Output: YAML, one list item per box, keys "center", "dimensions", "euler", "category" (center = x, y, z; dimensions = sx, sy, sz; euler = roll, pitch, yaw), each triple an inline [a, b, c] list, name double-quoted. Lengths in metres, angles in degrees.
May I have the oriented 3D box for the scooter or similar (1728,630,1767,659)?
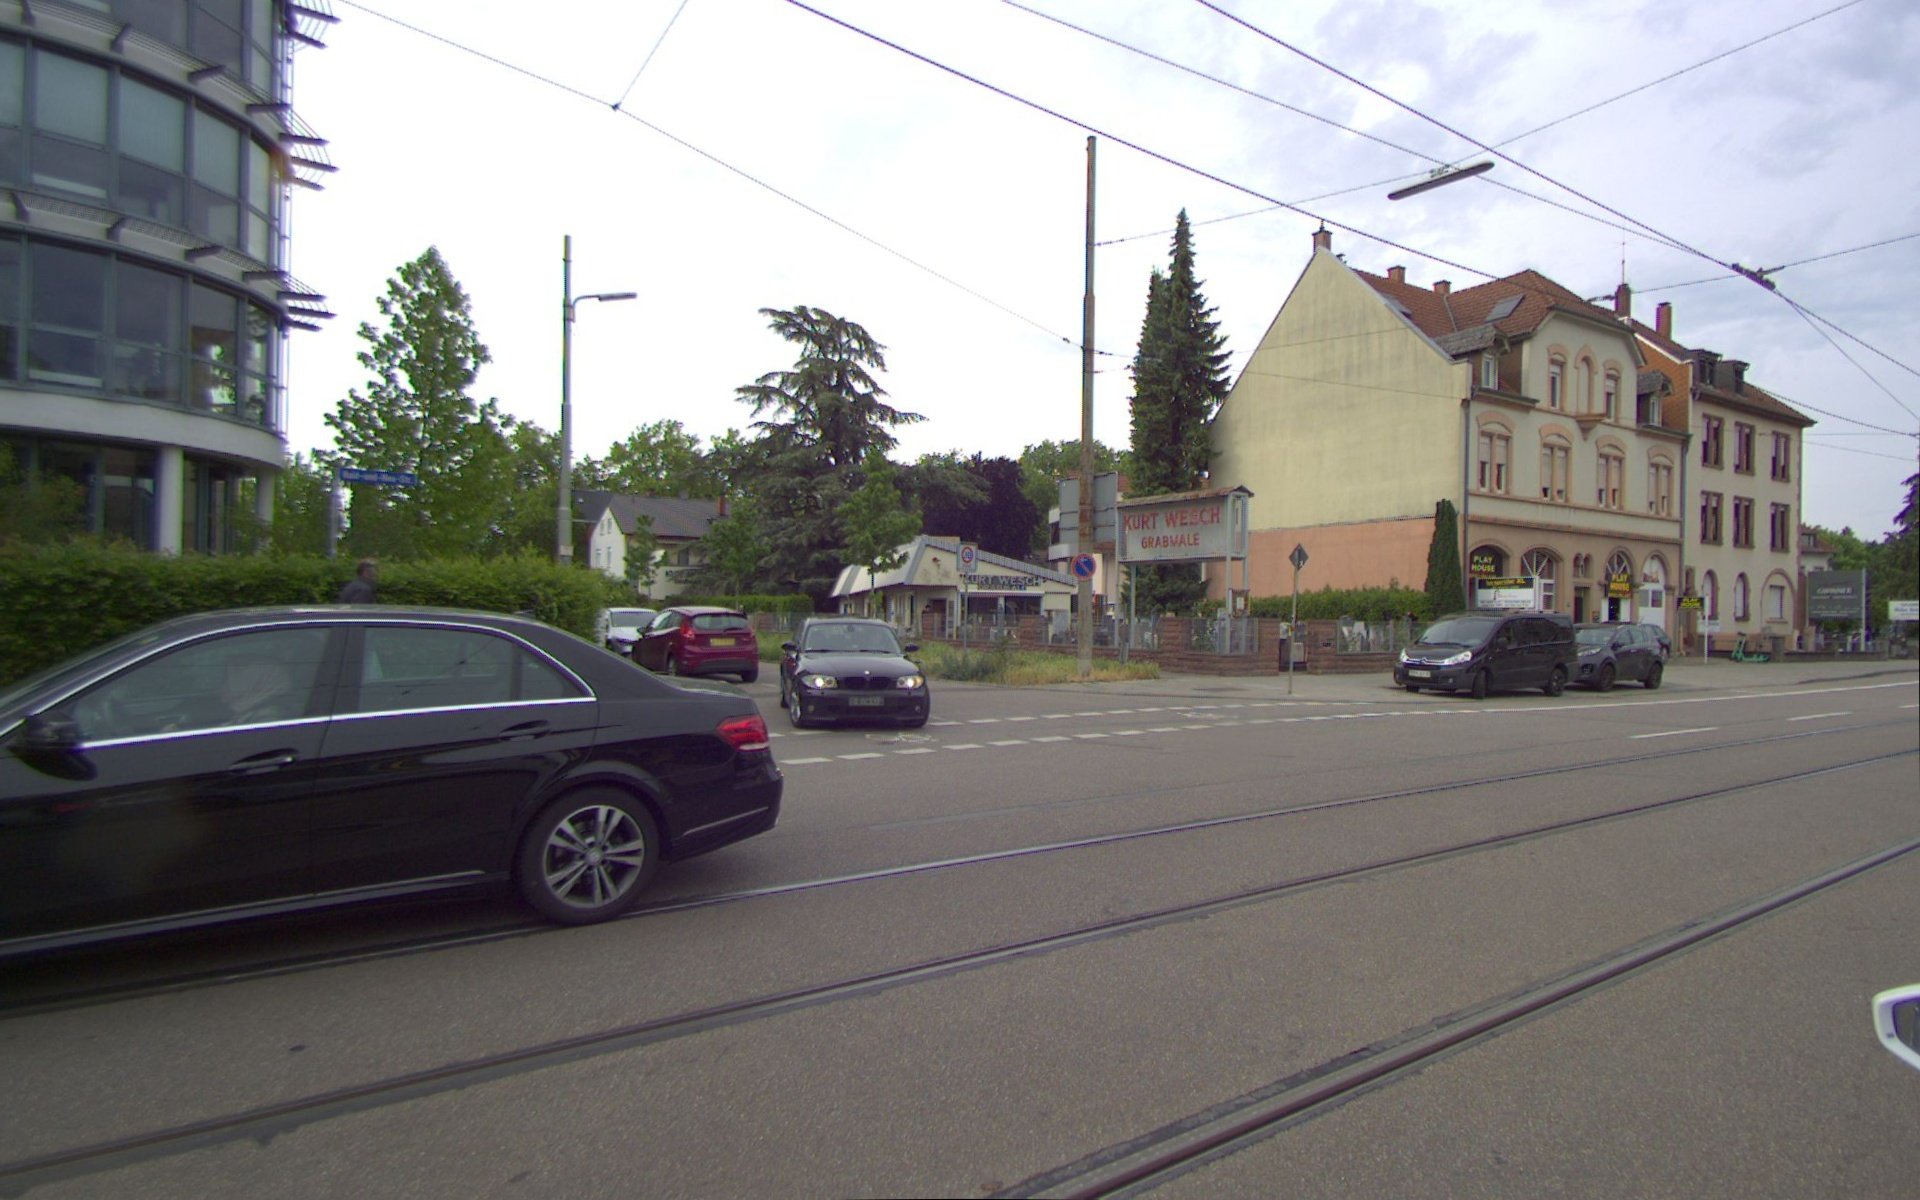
- center: [31.772, 1.800, 40.534]
  dimensions: [1.157, 1.116, 0.527]
  euler: [2, 0, 30]
  category: "scooter or similar"

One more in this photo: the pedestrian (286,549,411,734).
- center: [-6.428, 0.424, 10.606]
  dimensions: [1.047, 1.849, 0.800]
  euler: [2, 0, -30]
  category: "pedestrian"

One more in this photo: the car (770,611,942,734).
- center: [-1.605, 0.899, 14.021]
  dimensions: [1.758, 1.387, 4.100]
  euler: [2, 0, -15]
  category: "car"

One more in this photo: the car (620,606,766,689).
- center: [-5.472, 0.866, 20.261]
  dimensions: [1.707, 1.441, 3.983]
  euler: [-1, 1, -33]
  category: "car"

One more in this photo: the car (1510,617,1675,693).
- center: [16.814, 1.379, 26.651]
  dimensions: [4.487, 1.773, 2.024]
  euler: [1, 1, -34]
  category: "car"

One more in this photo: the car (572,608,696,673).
- center: [-7.883, 0.912, 24.051]
  dimensions: [1.761, 1.367, 4.009]
  euler: [2, -1, -34]
  category: "car"

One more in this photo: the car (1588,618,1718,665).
- center: [24.298, 1.455, 35.183]
  dimensions: [4.848, 1.512, 1.983]
  euler: [2, -1, -32]
  category: "car"

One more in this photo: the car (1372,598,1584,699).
- center: [11.949, 1.083, 23.064]
  dimensions: [5.129, 2.040, 1.975]
  euler: [2, 1, -33]
  category: "car"

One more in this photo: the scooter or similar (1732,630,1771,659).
- center: [32.372, 1.821, 41.115]
  dimensions: [1.157, 1.116, 0.527]
  euler: [2, 0, 30]
  category: "scooter or similar"

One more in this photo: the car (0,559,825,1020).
- center: [-3.028, 0.661, 4.697]
  dimensions: [4.439, 1.567, 1.783]
  euler: [2, 0, -37]
  category: "car"

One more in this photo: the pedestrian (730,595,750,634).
- center: [-10.500, 0.689, 48.031]
  dimensions: [0.752, 1.798, 0.631]
  euler: [2, 0, -28]
  category: "pedestrian"
